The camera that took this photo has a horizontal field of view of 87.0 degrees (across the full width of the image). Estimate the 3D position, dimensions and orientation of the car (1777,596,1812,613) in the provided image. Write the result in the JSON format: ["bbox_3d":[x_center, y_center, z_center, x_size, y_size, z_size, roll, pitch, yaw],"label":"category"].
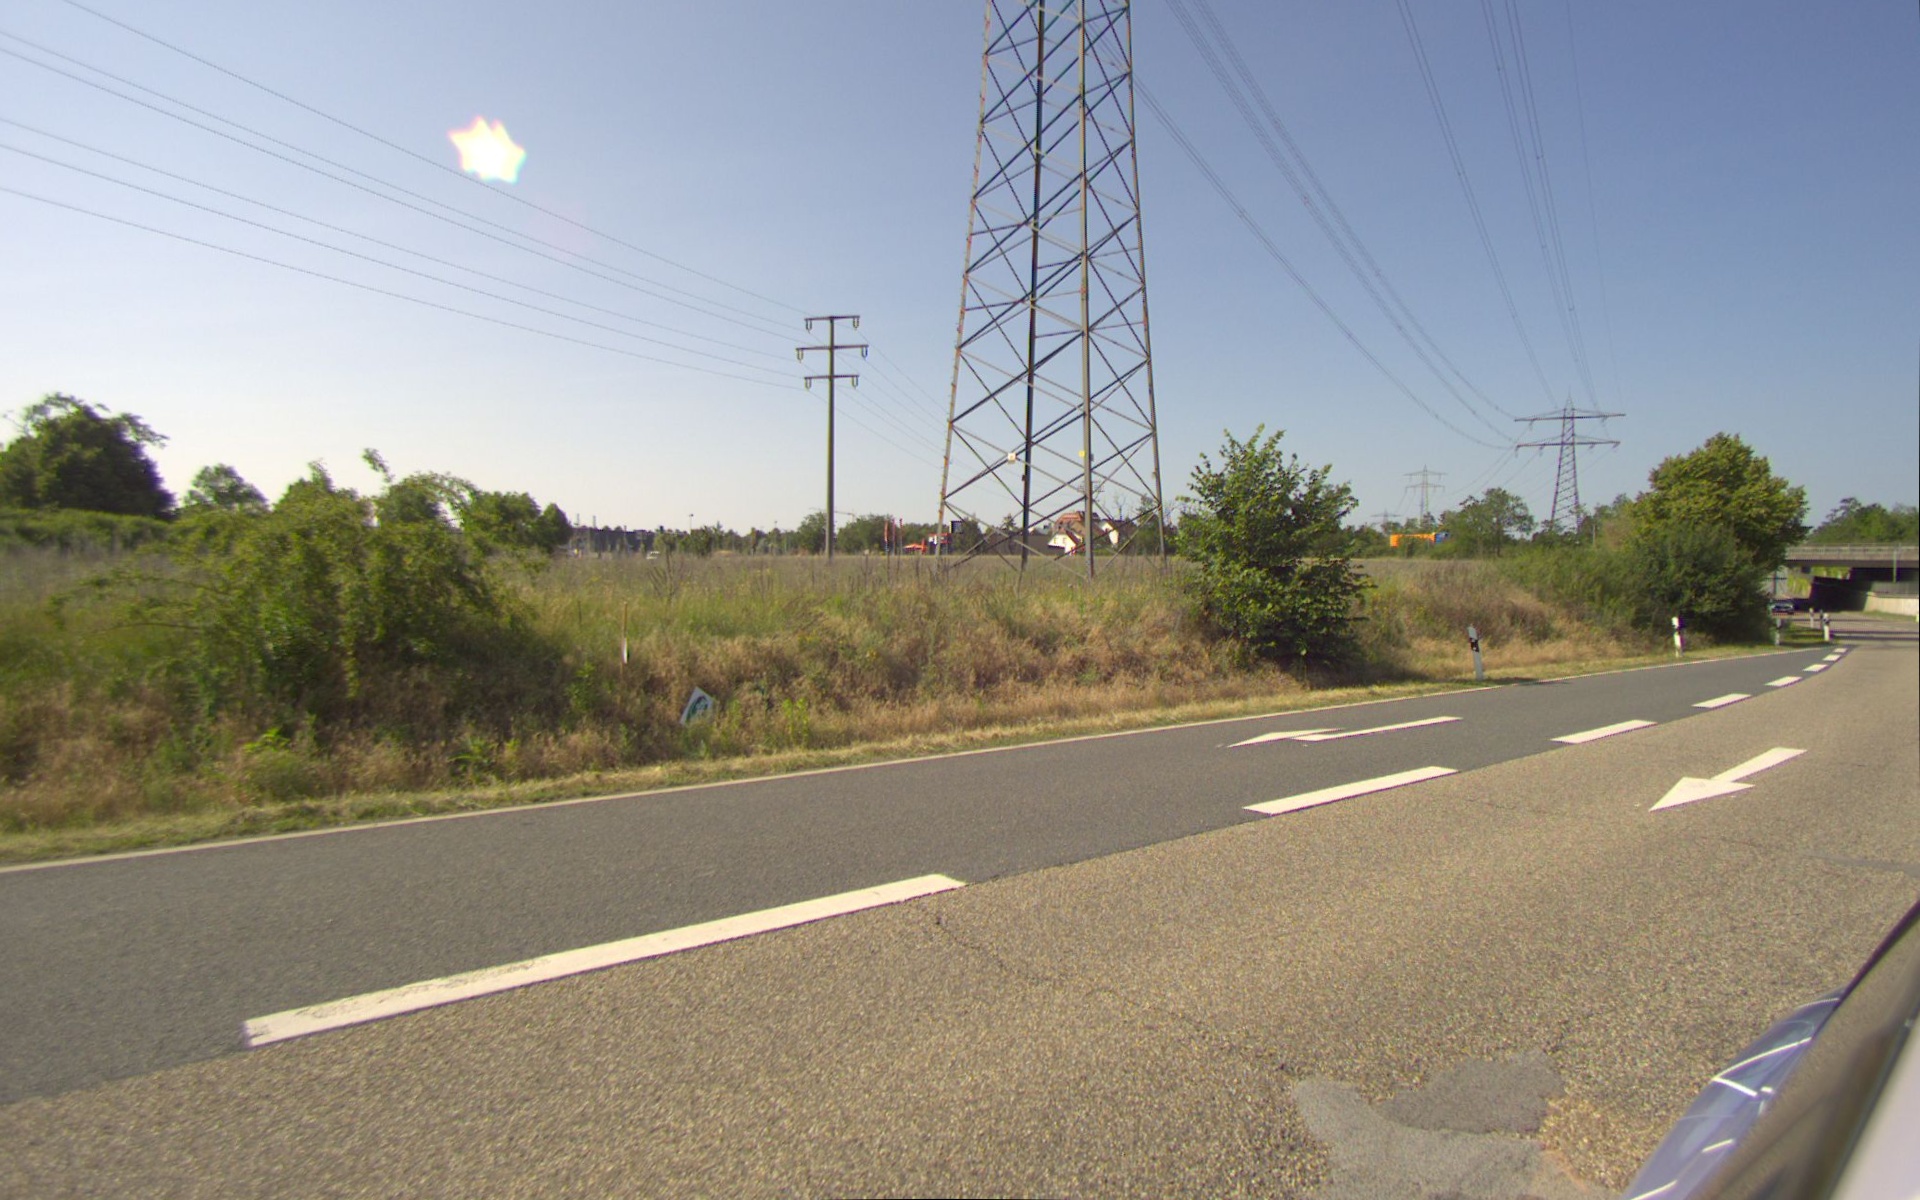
[{"bbox_3d":[82.195,0.454,99.740,1.842,1.639,3.615,1,0,26],"label":"car"}]
